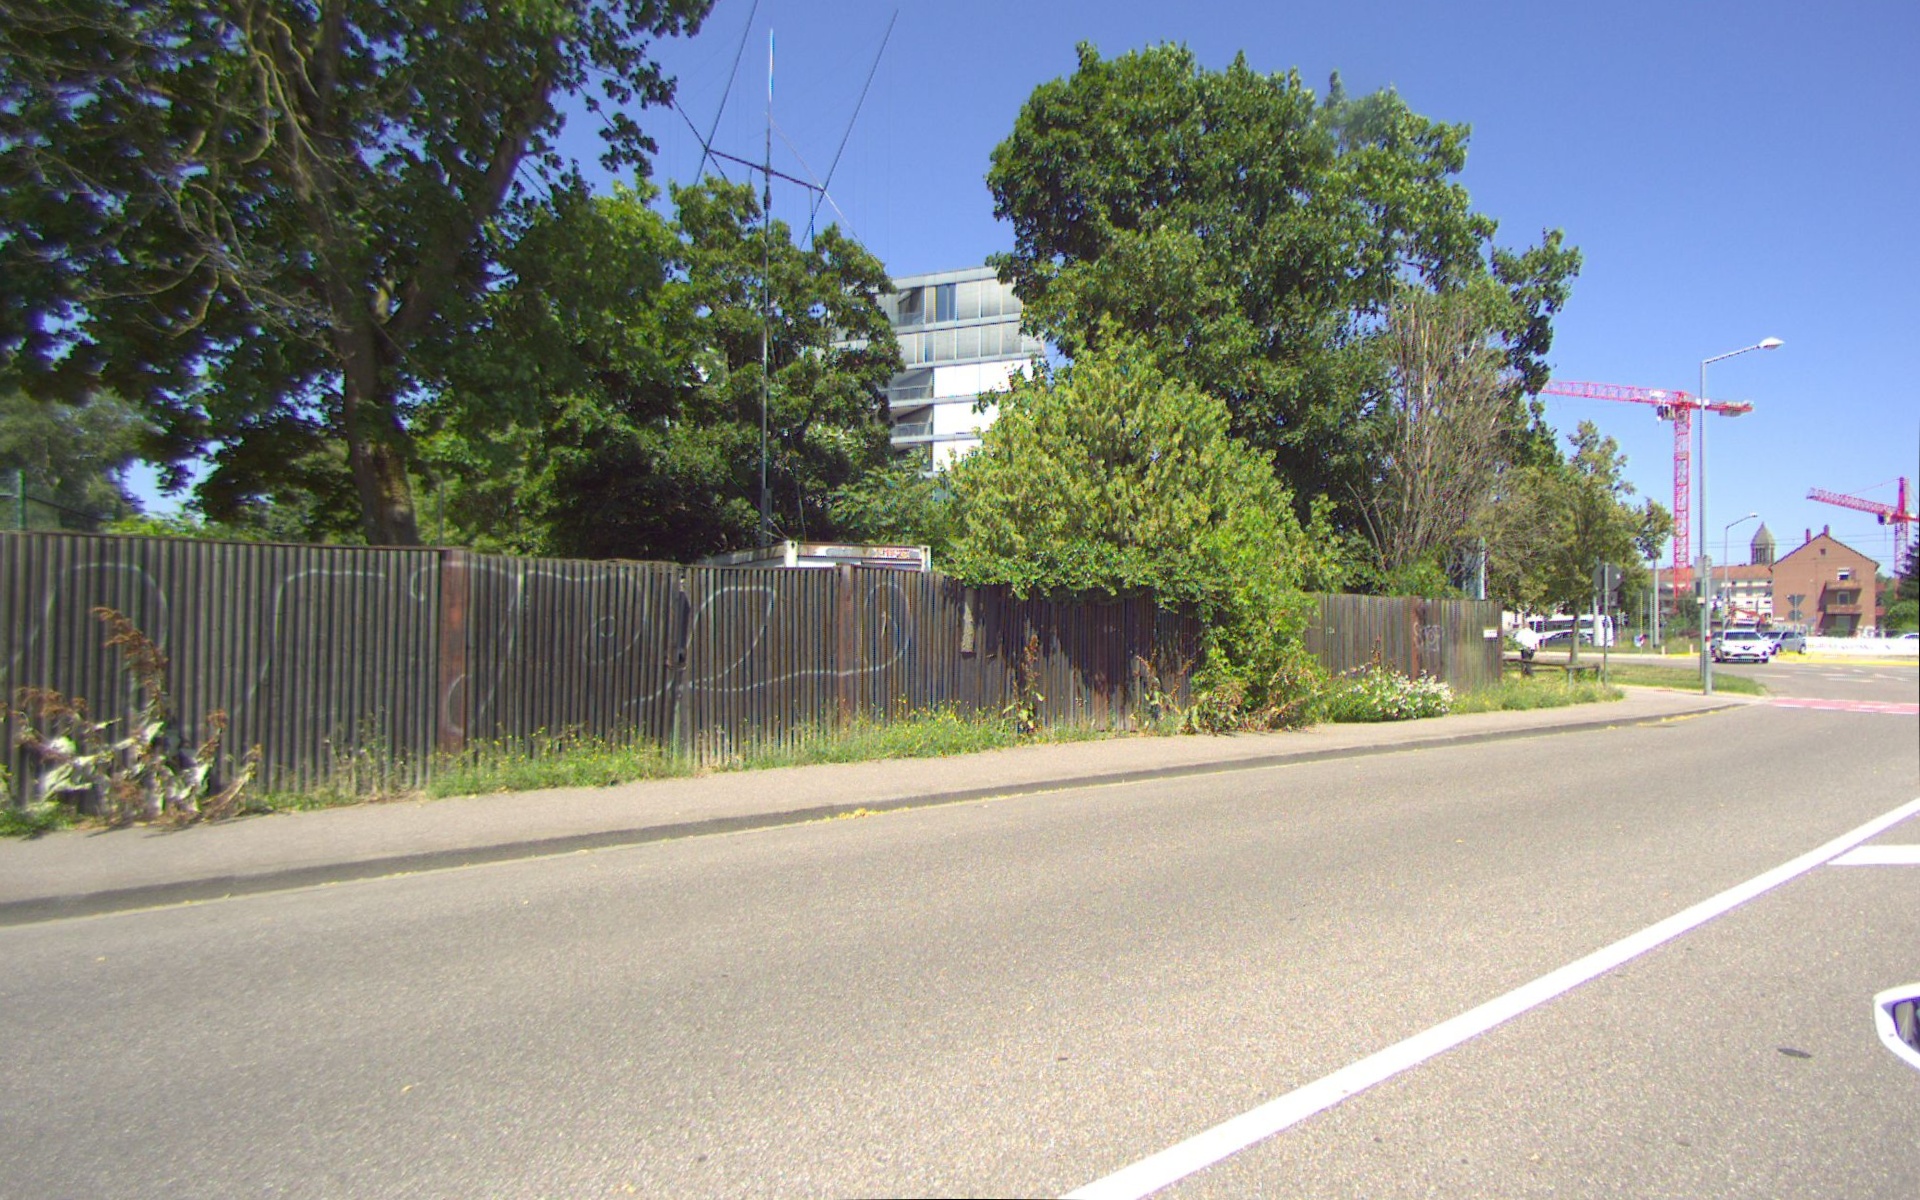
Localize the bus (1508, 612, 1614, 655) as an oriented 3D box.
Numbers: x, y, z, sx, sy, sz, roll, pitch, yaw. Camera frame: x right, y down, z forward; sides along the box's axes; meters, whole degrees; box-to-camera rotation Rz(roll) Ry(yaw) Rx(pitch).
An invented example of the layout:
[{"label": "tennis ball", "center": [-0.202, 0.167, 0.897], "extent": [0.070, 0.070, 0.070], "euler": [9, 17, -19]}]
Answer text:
[{"label": "bus", "center": [49.831, 2.735, 83.424], "extent": [2.240, 3.215, 7.200], "euler": [2, 0, -37]}]

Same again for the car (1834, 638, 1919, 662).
[{"label": "car", "center": [62.204, 3.369, 67.984], "extent": [4.244, 1.390, 1.753], "euler": [2, 0, 17]}]

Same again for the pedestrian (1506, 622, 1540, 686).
[{"label": "pedestrian", "center": [16.560, 1.578, 29.559], "extent": [0.625, 1.810, 0.969], "euler": [2, 0, 18]}]

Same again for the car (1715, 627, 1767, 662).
[{"label": "car", "center": [36.491, 2.052, 46.993], "extent": [1.752, 1.547, 3.859], "euler": [-1, -2, 36]}]

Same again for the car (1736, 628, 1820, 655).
[{"label": "car", "center": [49.181, 2.491, 60.411], "extent": [4.199, 1.421, 1.728], "euler": [2, 0, -15]}]

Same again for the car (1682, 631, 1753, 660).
[{"label": "car", "center": [40.397, 2.417, 53.527], "extent": [4.286, 1.390, 1.735], "euler": [2, 0, -34]}]
